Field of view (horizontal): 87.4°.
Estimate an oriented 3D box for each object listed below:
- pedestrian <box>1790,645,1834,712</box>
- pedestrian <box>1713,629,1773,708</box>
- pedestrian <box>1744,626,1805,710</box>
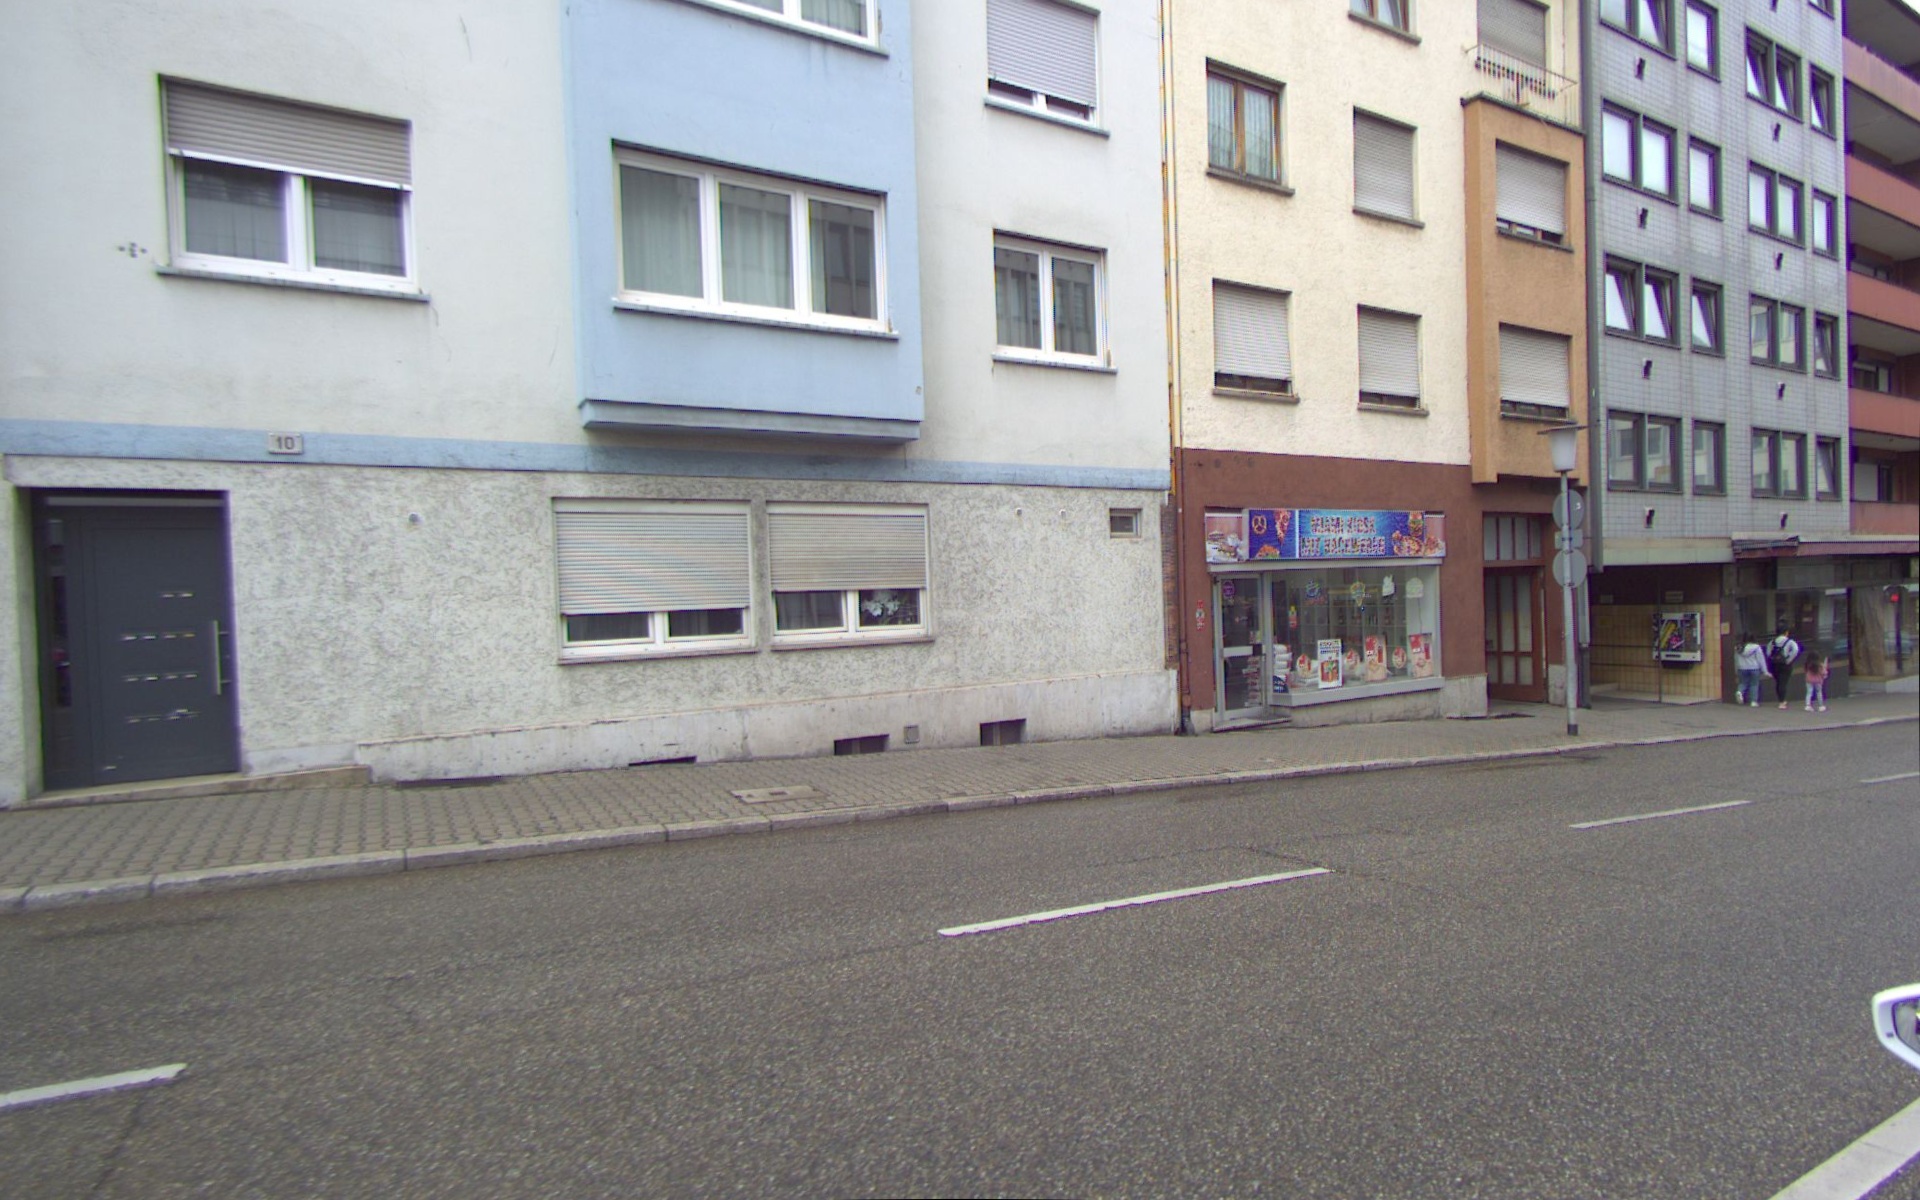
[{"bbox_3d":[17.692,1.616,20.850,0.717,1.341,0.529,1,1,-39],"label":"pedestrian"},{"bbox_3d":[16.608,1.429,21.312,0.717,1.581,0.821,1,1,-38],"label":"pedestrian"},{"bbox_3d":[17.404,1.429,21.473,0.717,1.712,0.821,1,1,-38],"label":"pedestrian"}]
